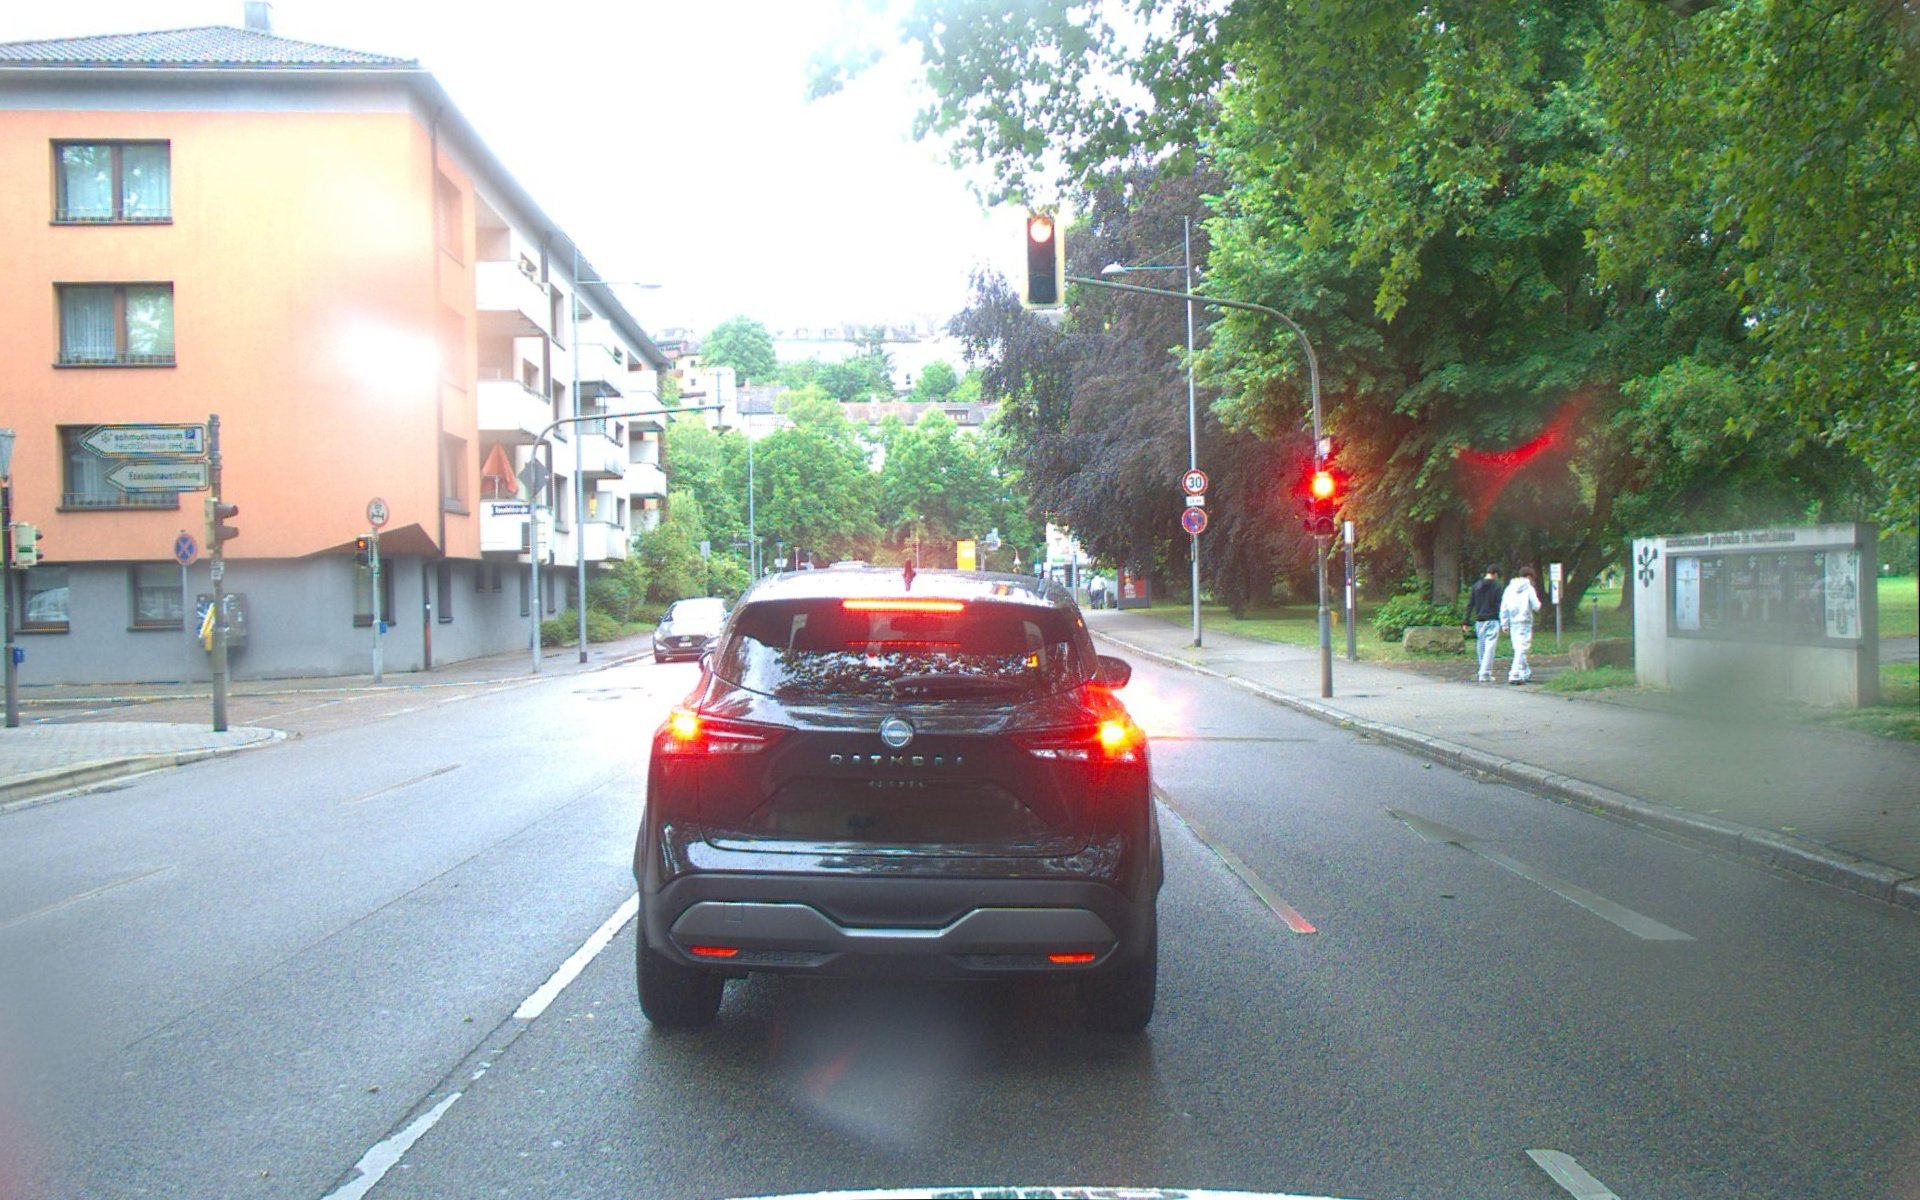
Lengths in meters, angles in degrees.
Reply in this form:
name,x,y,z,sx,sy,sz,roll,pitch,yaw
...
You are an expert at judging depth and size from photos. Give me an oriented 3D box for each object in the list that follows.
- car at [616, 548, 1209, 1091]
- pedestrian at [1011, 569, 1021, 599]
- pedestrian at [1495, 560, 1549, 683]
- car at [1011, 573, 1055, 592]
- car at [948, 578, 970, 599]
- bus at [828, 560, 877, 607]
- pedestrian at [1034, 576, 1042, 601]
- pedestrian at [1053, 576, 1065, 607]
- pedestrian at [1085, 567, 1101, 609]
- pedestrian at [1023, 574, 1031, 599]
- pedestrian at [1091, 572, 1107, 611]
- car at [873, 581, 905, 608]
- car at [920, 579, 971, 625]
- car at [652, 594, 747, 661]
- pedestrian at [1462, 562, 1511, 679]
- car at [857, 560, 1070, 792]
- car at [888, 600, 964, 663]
name,x,y,z,sx,sy,sz,roll,pitch,yaw
car,-0.169,0.674,7.008,1.769,1.618,3.999,1,0,-1
pedestrian,4.167,-1.159,123.221,0.752,2.222,0.711,1,-1,2
pedestrian,8.207,0.306,24.169,0.493,1.751,0.559,-2,0,-7
car,7.182,-1.684,163.334,3.916,1.713,1.995,-2,0,-11
car,-0.069,-0.933,136.467,1.714,1.662,3.634,-2,1,0
bus,-7.386,-1.093,115.106,2.710,3.026,11.779,-1,0,-1
pedestrian,5.252,-0.788,111.412,0.504,1.684,0.550,1,-1,-1
pedestrian,5.962,-0.515,99.563,0.606,1.810,0.550,-2,0,-1
pedestrian,6.697,-0.605,83.233,0.661,2.049,0.777,-2,0,-1
pedestrian,4.553,-0.888,112.510,0.533,1.680,0.490,1,-1,0
pedestrian,6.629,-0.394,78.861,0.606,1.810,0.778,-2,0,-1
car,-3.988,-0.290,93.253,1.591,1.439,3.454,-2,0,0
car,-0.477,0.058,55.633,1.591,1.439,3.454,-2,0,0
car,-6.372,0.637,40.793,1.772,1.441,4.029,-3,1,-2
pedestrian,8.068,0.309,25.337,0.475,1.751,0.559,-2,0,-7
car,0.056,0.575,14.686,1.588,1.738,3.771,-2,0,1
car,-0.868,0.744,41.081,1.772,1.442,4.029,0,0,-2
